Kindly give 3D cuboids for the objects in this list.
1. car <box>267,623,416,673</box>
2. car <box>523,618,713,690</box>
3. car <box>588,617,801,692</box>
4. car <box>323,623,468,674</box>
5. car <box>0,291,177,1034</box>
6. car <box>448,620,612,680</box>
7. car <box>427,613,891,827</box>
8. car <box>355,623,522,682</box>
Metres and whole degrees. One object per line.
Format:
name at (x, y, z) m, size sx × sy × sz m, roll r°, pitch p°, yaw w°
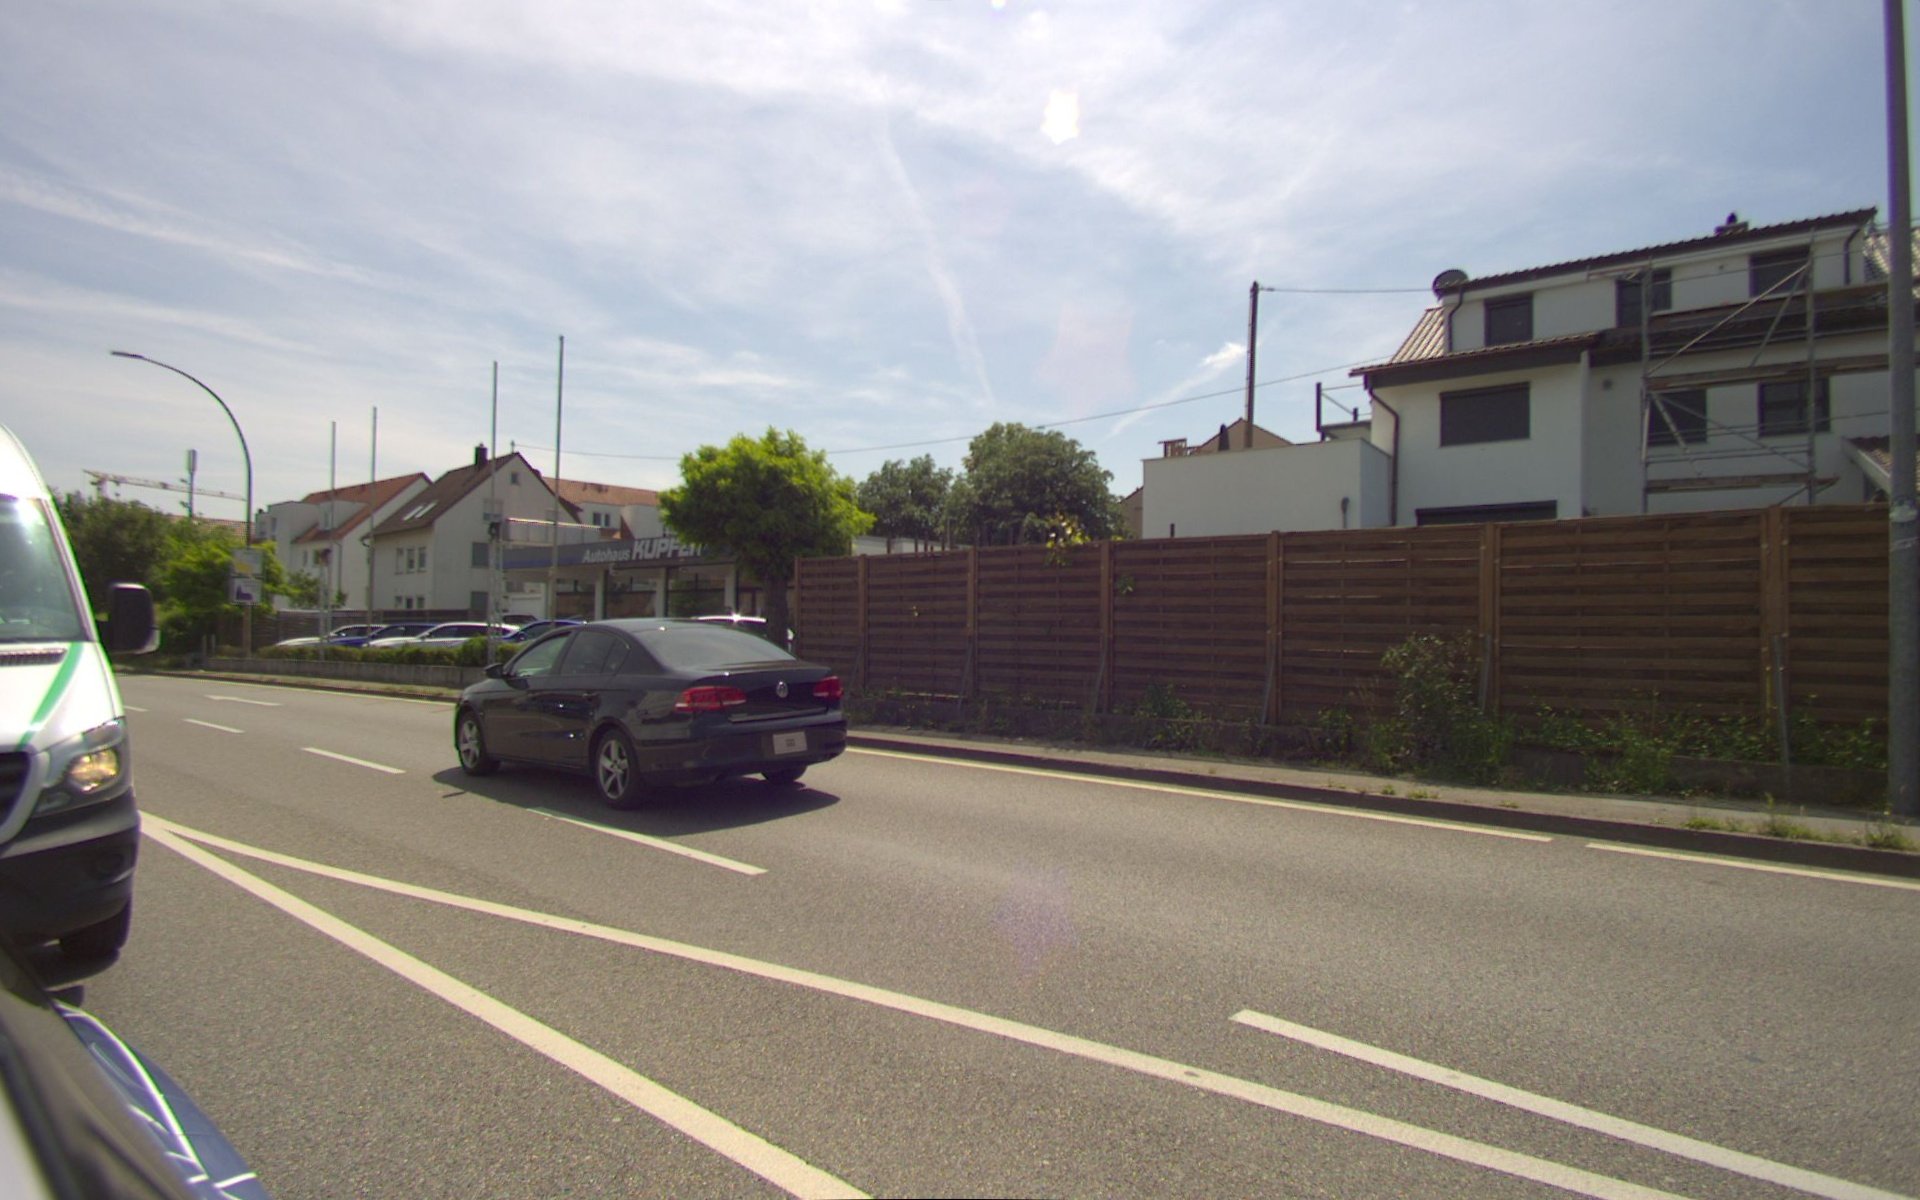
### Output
car at (-21.478, 1.629, 35.340) m, size 4.192 × 1.541 × 2.006 m, roll -1°, pitch -1°, yaw -24°
car at (-8.443, 1.284, 25.019) m, size 4.187 × 1.557 × 1.856 m, roll -1°, pitch -1°, yaw -27°
car at (-5.869, 1.150, 22.361) m, size 4.264 × 1.471 × 1.861 m, roll 0°, pitch -1°, yaw -26°
car at (-18.227, 1.522, 32.881) m, size 3.930 × 1.475 × 2.006 m, roll -1°, pitch -1°, yaw -24°
car at (-5.847, 0.287, 5.004) m, size 5.628 × 2.619 × 1.953 m, roll -2°, pitch -1°, yaw 40°
car at (-11.620, 1.316, 27.425) m, size 3.931 × 1.453 × 1.860 m, roll -1°, pitch -1°, yaw -25°
car at (-2.884, 0.872, 9.030) m, size 4.612 × 1.428 × 1.796 m, roll -2°, pitch -2°, yaw 41°
car at (-15.263, 1.496, 29.903) m, size 4.238 × 1.530 × 2.006 m, roll -1°, pitch -1°, yaw -23°
